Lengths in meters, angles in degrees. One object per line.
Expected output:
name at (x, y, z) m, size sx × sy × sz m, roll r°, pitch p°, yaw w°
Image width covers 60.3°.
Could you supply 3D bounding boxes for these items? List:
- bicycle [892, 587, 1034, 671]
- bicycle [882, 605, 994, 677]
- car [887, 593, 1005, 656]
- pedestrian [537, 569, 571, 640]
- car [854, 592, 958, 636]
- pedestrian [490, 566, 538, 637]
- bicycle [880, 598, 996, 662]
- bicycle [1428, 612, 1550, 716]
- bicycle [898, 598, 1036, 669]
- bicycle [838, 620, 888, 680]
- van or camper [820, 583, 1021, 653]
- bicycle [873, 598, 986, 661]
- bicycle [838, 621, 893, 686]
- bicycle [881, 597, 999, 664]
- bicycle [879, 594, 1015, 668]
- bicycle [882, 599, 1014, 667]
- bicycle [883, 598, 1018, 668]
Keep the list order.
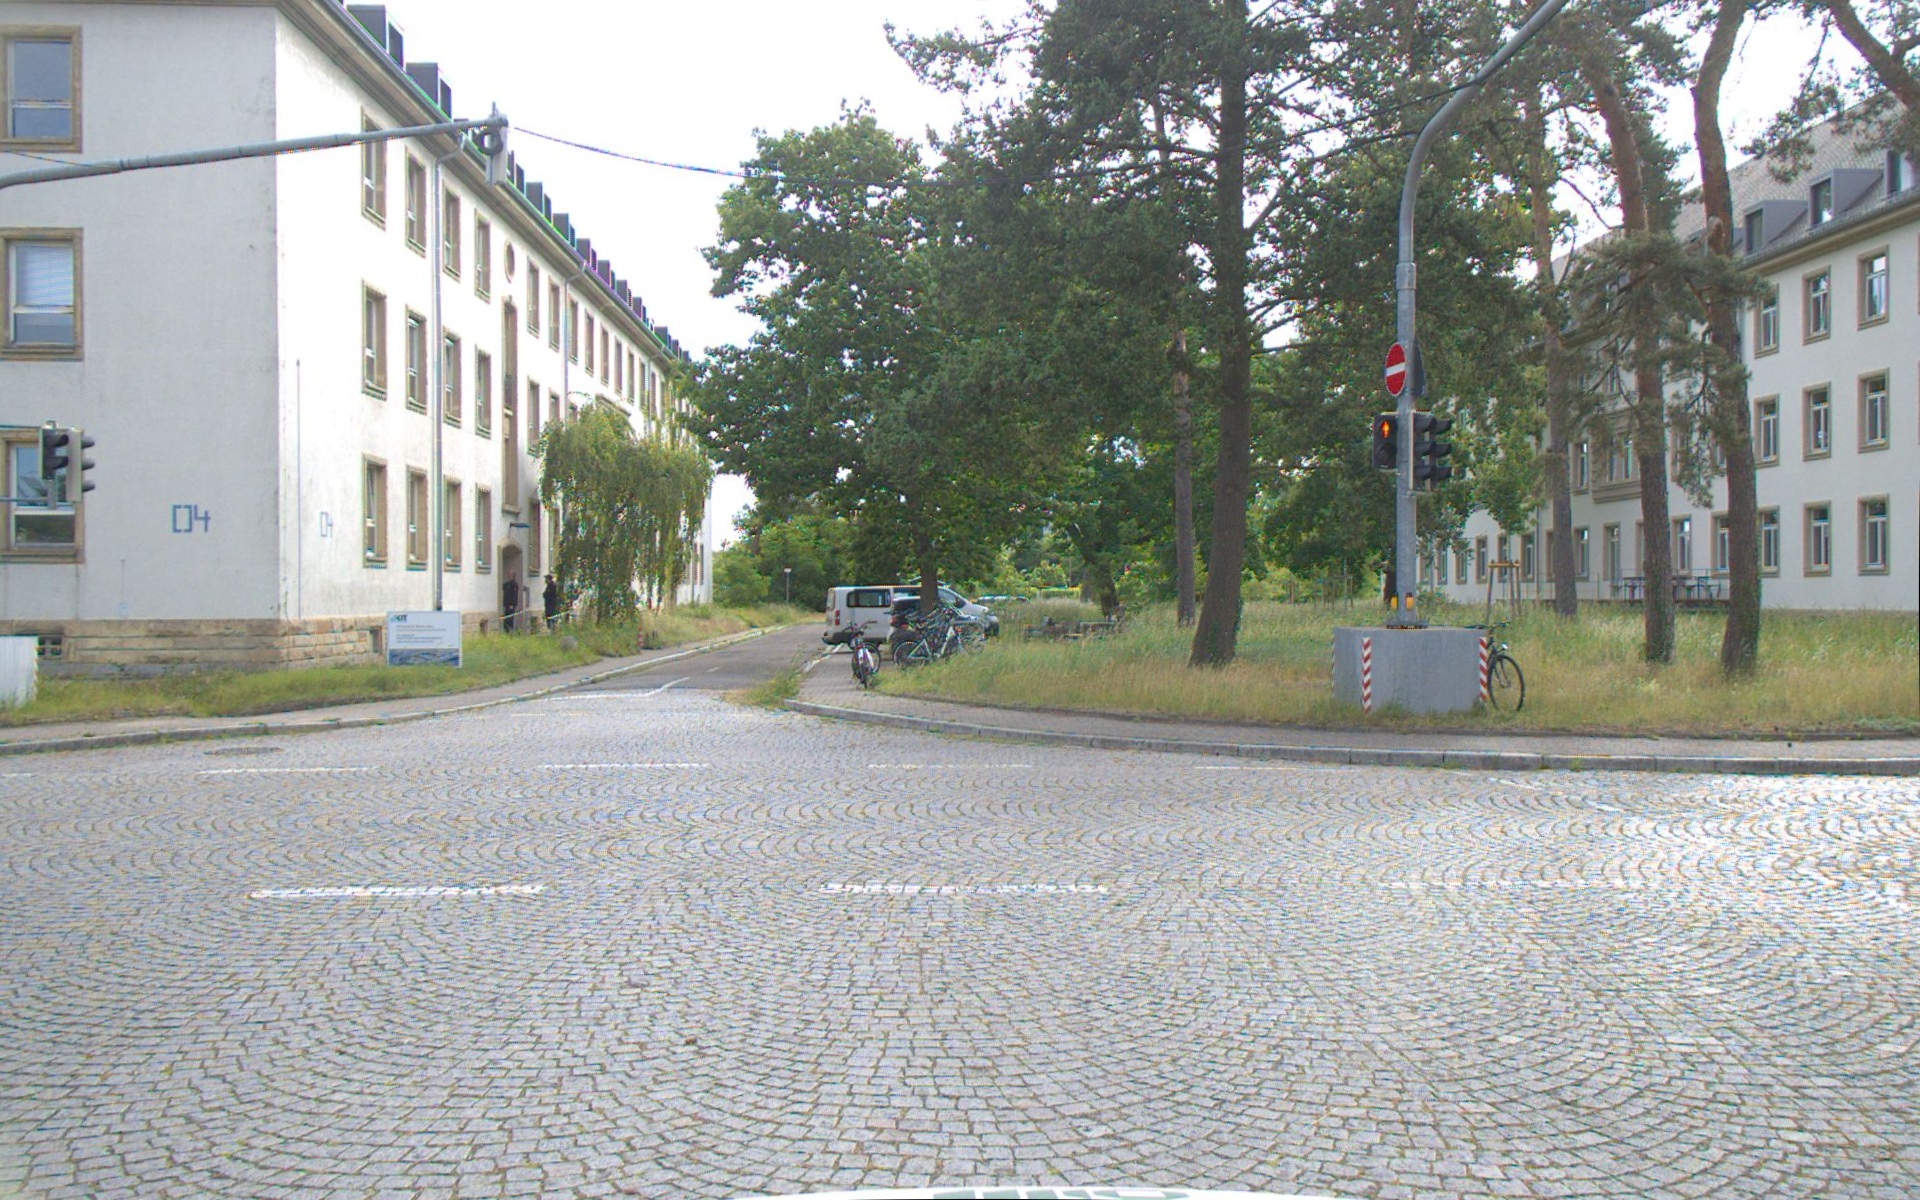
bicycle at (0.044, 0.568, 32.532) m, size 2.747 × 1.611 × 0.950 m, roll 0°, pitch 0°, yaw -3°
bicycle at (-0.421, 0.758, 31.028) m, size 2.071 × 1.329 × 0.874 m, roll 0°, pitch 0°, yaw -3°
car at (-0.417, 0.679, 45.644) m, size 3.160 × 1.649 × 1.936 m, roll 1°, pitch -1°, yaw -3°
pedestrian at (-11.445, 0.126, 46.630) m, size 0.850 × 1.966 × 0.834 m, roll 2°, pitch -1°, yaw -14°
car at (-2.078, 0.529, 62.918) m, size 3.909 × 1.628 × 1.702 m, roll 0°, pitch 0°, yaw -5°
pedestrian at (-12.228, 0.053, 45.389) m, size 1.174 × 1.903 × 1.544 m, roll 1°, pitch -1°, yaw -14°
bicycle at (-0.502, 0.656, 36.671) m, size 2.517 × 1.396 × 0.950 m, roll 0°, pitch 0°, yaw -4°
bicycle at (6.112, 0.714, 19.214) m, size 0.632 × 1.081 × 1.832 m, roll -4°, pitch 0°, yaw -5°
bicycle at (0.133, 0.672, 33.466) m, size 2.747 × 1.396 × 0.950 m, roll 0°, pitch 0°, yaw -3°
bicycle at (-1.726, 0.884, 29.683) m, size 0.712 × 1.014 × 1.979 m, roll 0°, pitch 0°, yaw 2°
van or camper at (-1.199, 0.509, 49.126) m, size 5.646 × 1.991 × 2.229 m, roll 0°, pitch 0°, yaw -15°
bicycle at (-0.697, 0.658, 37.501) m, size 2.517 × 1.396 × 0.950 m, roll 0°, pitch 0°, yaw -4°
bicycle at (-1.568, 0.871, 27.596) m, size 0.882 × 1.014 × 1.977 m, roll 0°, pitch 0°, yaw -3°
bicycle at (-0.456, 0.650, 35.832) m, size 2.517 × 1.396 × 0.950 m, roll 0°, pitch 0°, yaw -4°
bicycle at (-0.260, 0.586, 31.648) m, size 2.567 × 1.391 × 0.874 m, roll 0°, pitch 0°, yaw -3°
bicycle at (-0.273, 0.676, 34.877) m, size 2.747 × 1.396 × 0.950 m, roll 0°, pitch 0°, yaw -3°
bicycle at (-0.208, 0.670, 33.985) m, size 2.747 × 1.396 × 0.950 m, roll 0°, pitch 0°, yaw -3°
